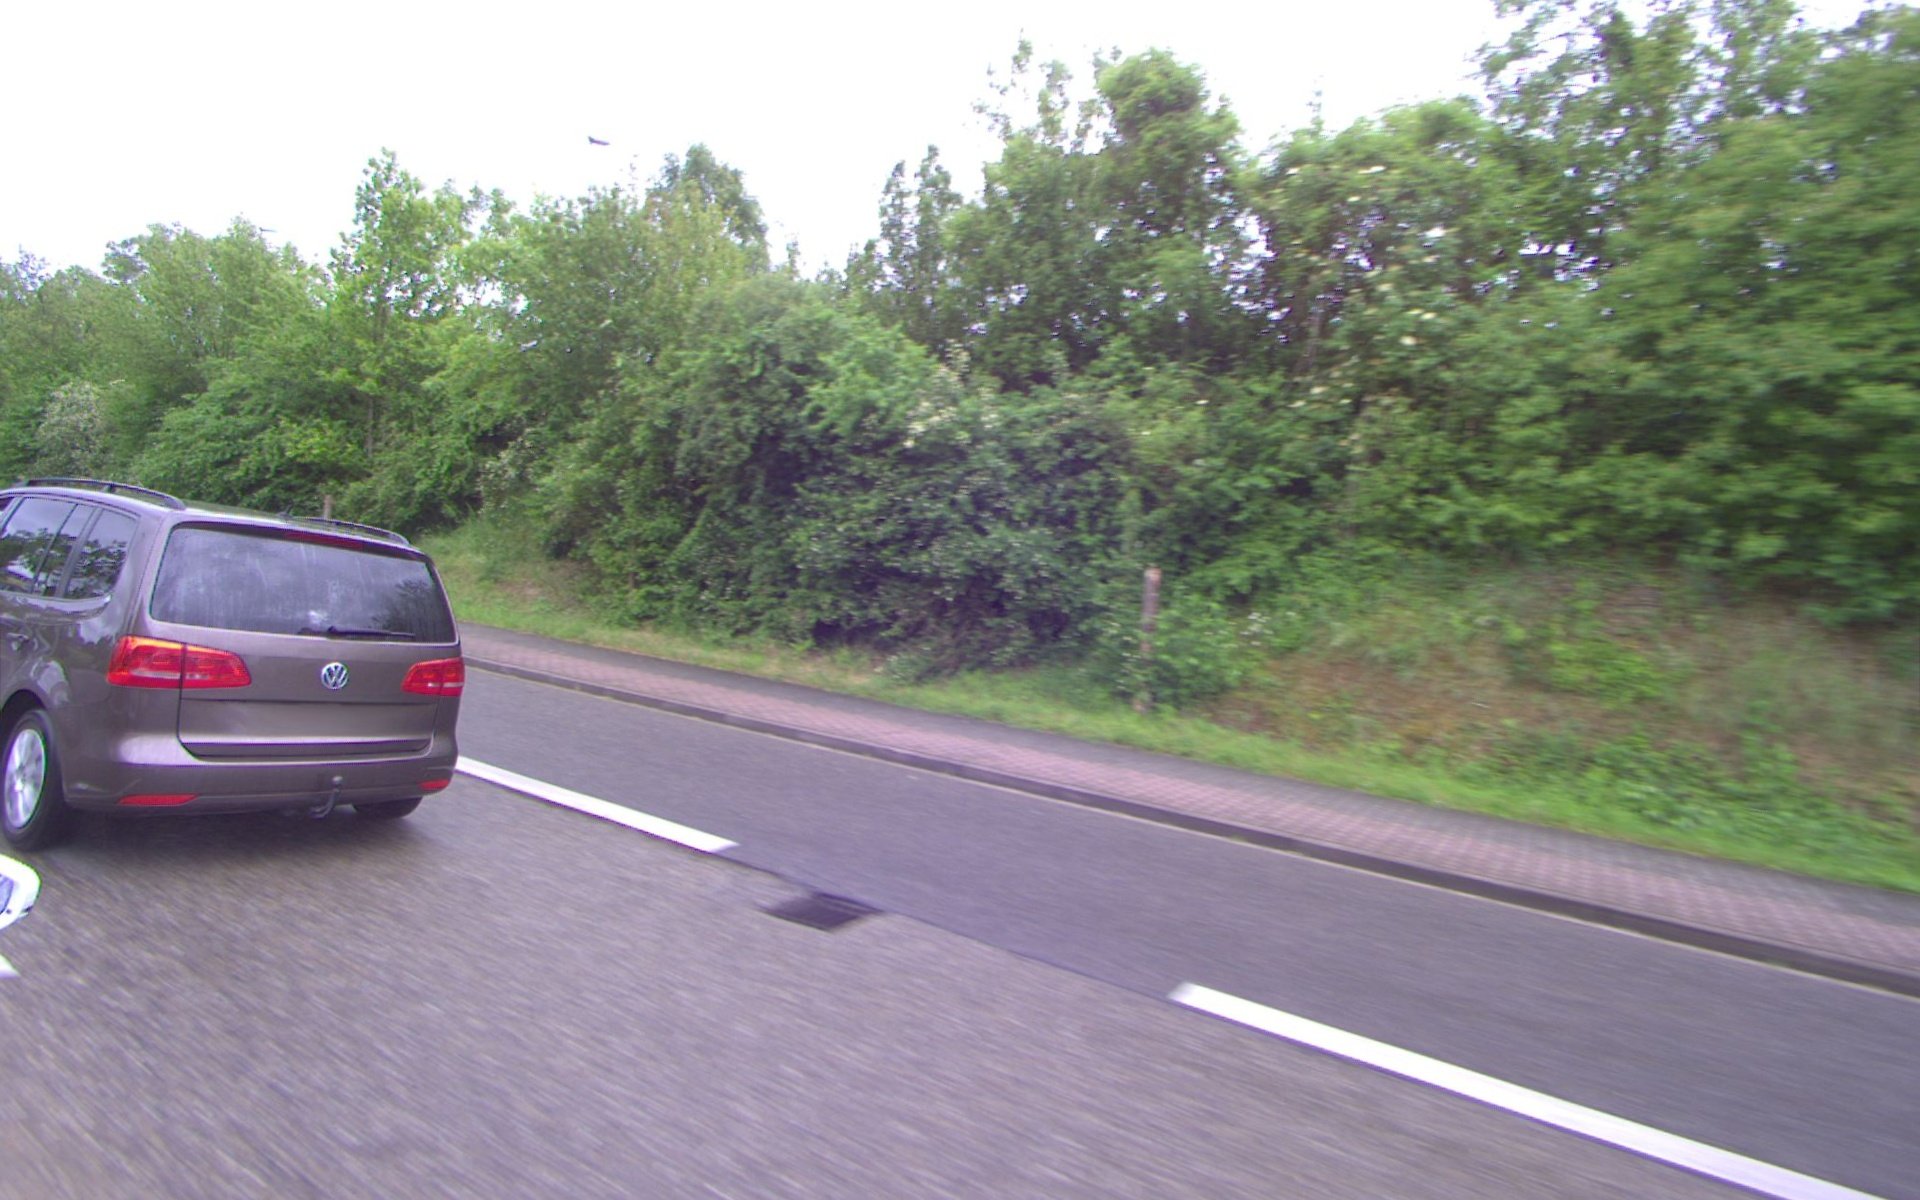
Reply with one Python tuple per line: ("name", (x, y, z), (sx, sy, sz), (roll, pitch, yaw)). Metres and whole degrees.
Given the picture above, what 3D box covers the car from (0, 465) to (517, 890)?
("car", (-4.626, 0.209, 5.656), (4.061, 1.615, 1.718), (6, -2, 30))
